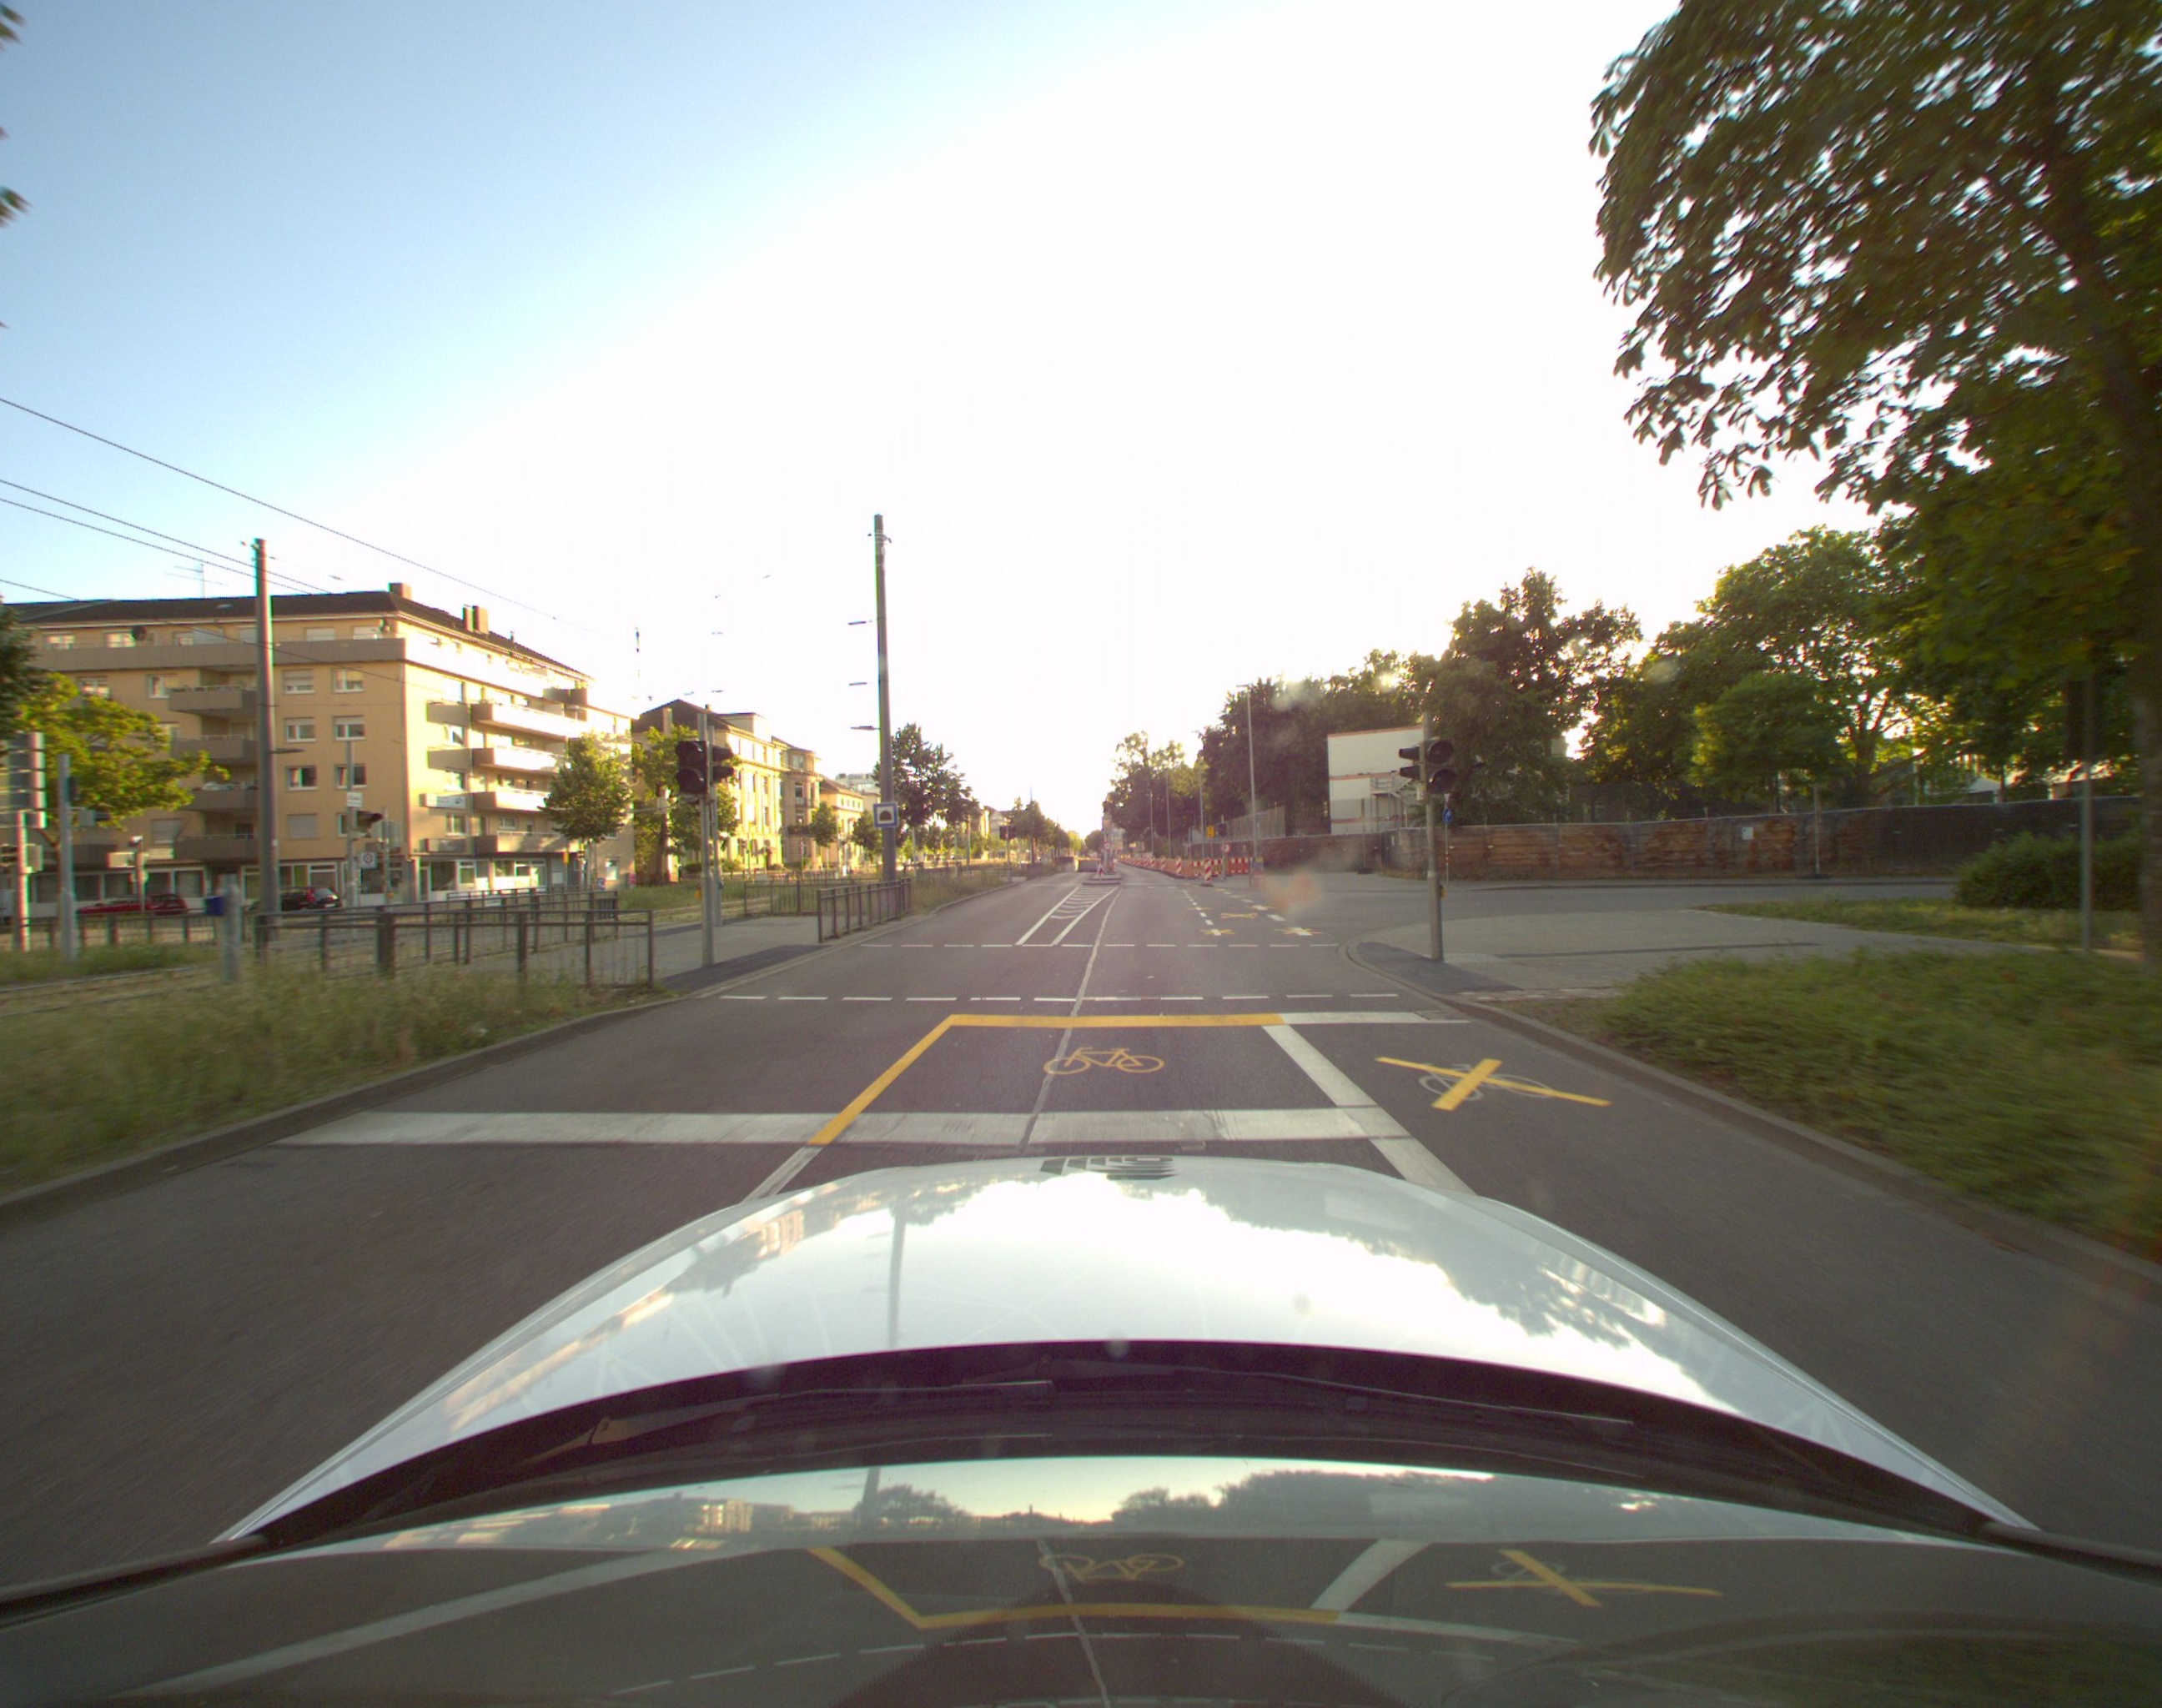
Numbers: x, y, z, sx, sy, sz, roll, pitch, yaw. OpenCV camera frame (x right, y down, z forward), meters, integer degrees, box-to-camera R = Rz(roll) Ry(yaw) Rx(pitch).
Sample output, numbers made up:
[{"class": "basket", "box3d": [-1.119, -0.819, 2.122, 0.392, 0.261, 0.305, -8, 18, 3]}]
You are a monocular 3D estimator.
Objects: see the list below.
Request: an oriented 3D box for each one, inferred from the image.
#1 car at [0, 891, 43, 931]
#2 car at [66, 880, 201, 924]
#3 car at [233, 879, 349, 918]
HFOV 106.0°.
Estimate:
[{"class": "car", "box3d": [-58.386, 3.059, 42.933, 4.471, 1.990, 2.167, -2, 0, 0]}, {"class": "car", "box3d": [-49.868, 2.494, 42.949, 4.317, 1.769, 2.165, -5, 1, -2]}, {"class": "car", "box3d": [-41.472, 2.315, 42.839, 3.920, 1.845, 2.191, -2, 0, 0]}]
